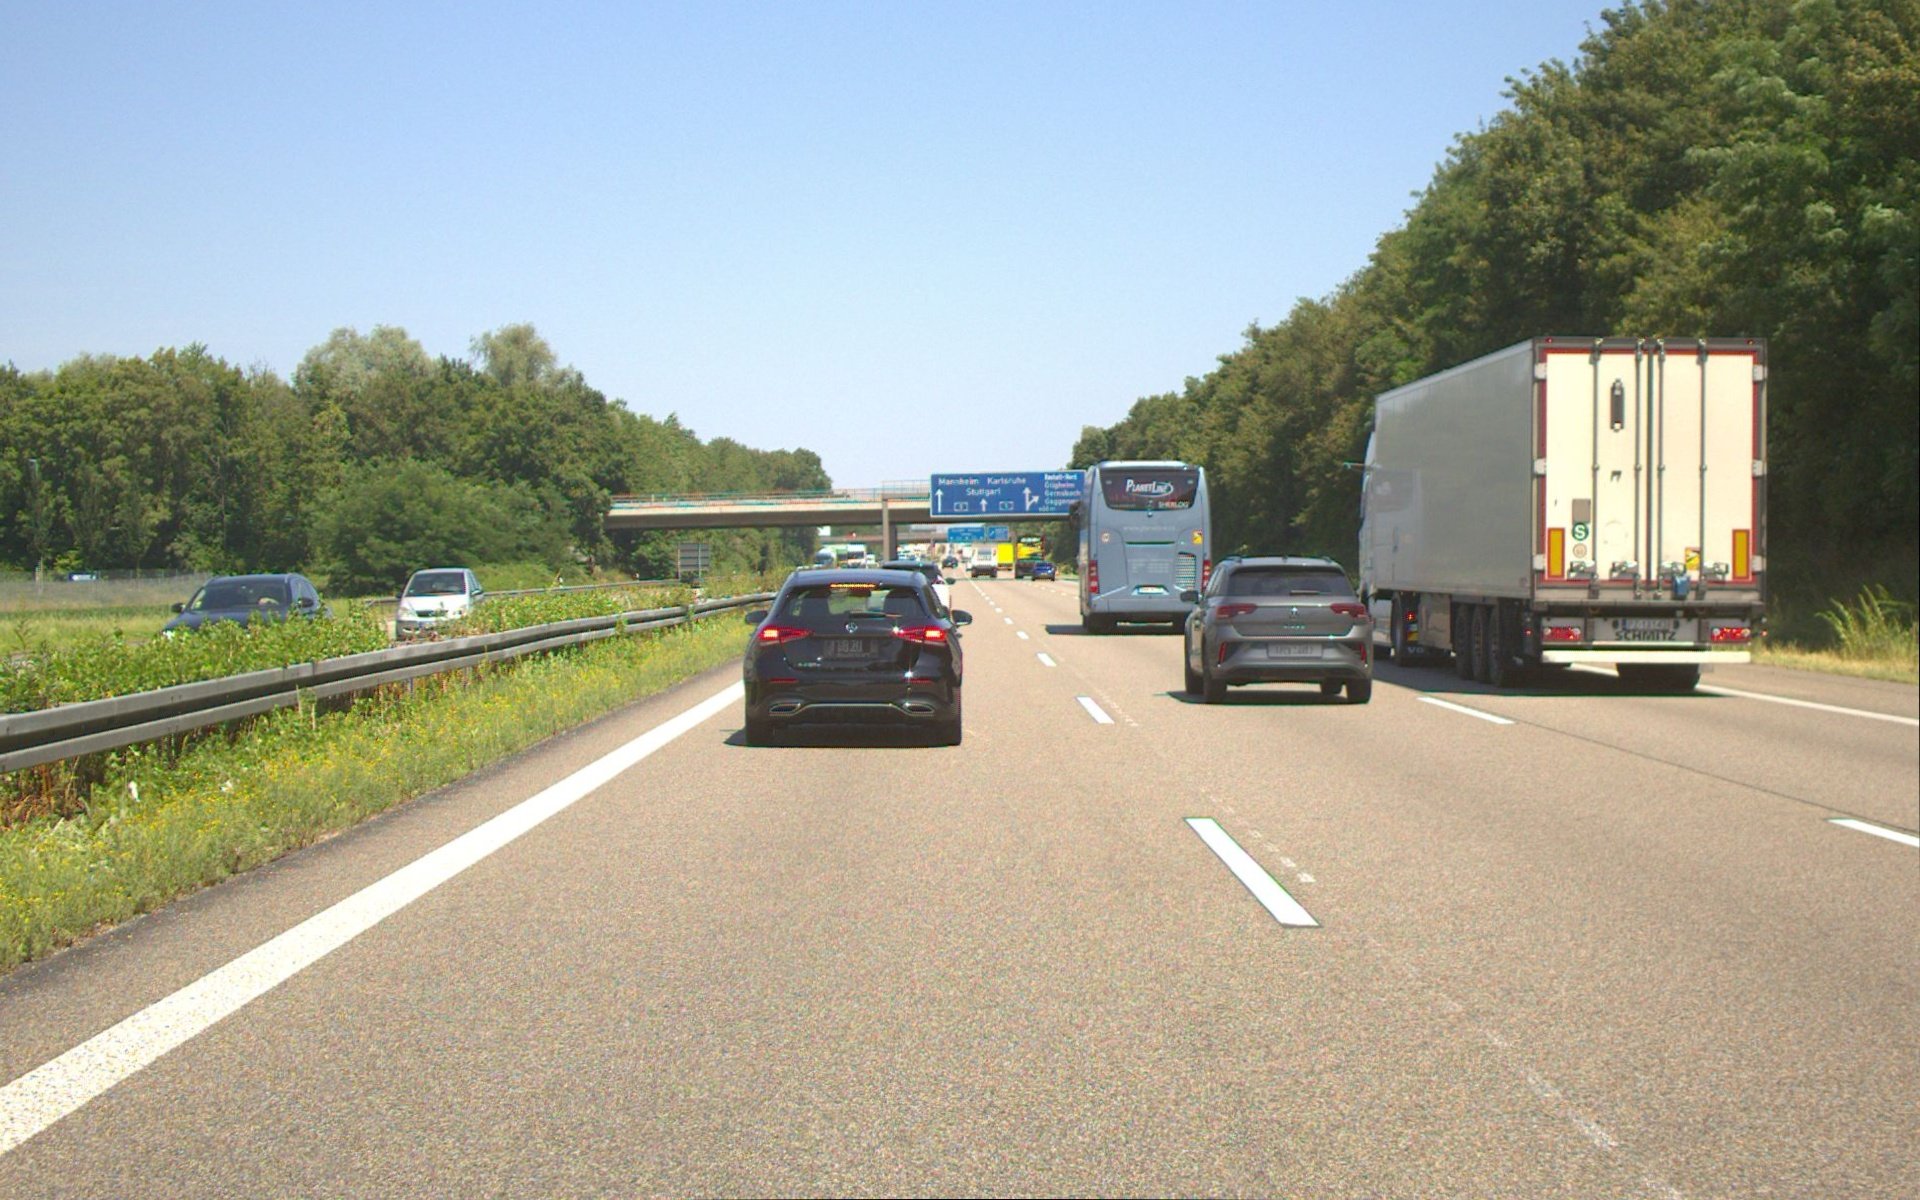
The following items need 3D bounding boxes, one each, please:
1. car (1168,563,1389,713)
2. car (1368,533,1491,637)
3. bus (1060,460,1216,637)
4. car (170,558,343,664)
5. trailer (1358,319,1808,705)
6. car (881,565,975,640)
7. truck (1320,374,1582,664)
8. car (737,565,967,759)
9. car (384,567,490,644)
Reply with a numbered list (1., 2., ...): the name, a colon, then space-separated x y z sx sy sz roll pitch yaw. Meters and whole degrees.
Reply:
1. car: 3.433 0.370 37.861 1.899 1.527 4.760 0 1 -1
2. car: 9.790 -0.330 71.924 1.899 2.113 4.242 0 1 -1
3. bus: 3.784 -1.116 75.912 2.802 3.584 12.474 0 1 0
4. car: -10.544 0.133 51.783 1.799 1.527 4.242 0 1 -1
5. trailer: 7.622 -1.064 44.581 3.039 4.210 13.837 0 1 -1
6. car: -0.696 0.030 72.367 1.899 1.527 4.242 0 1 -1
7. truck: 7.464 -1.222 53.081 3.047 4.200 6.049 0 1 -1
8. car: -0.888 0.465 29.093 1.799 1.497 4.242 0 1 -1
9. car: -11.651 0.102 76.768 1.656 1.577 4.335 -2 1 0
